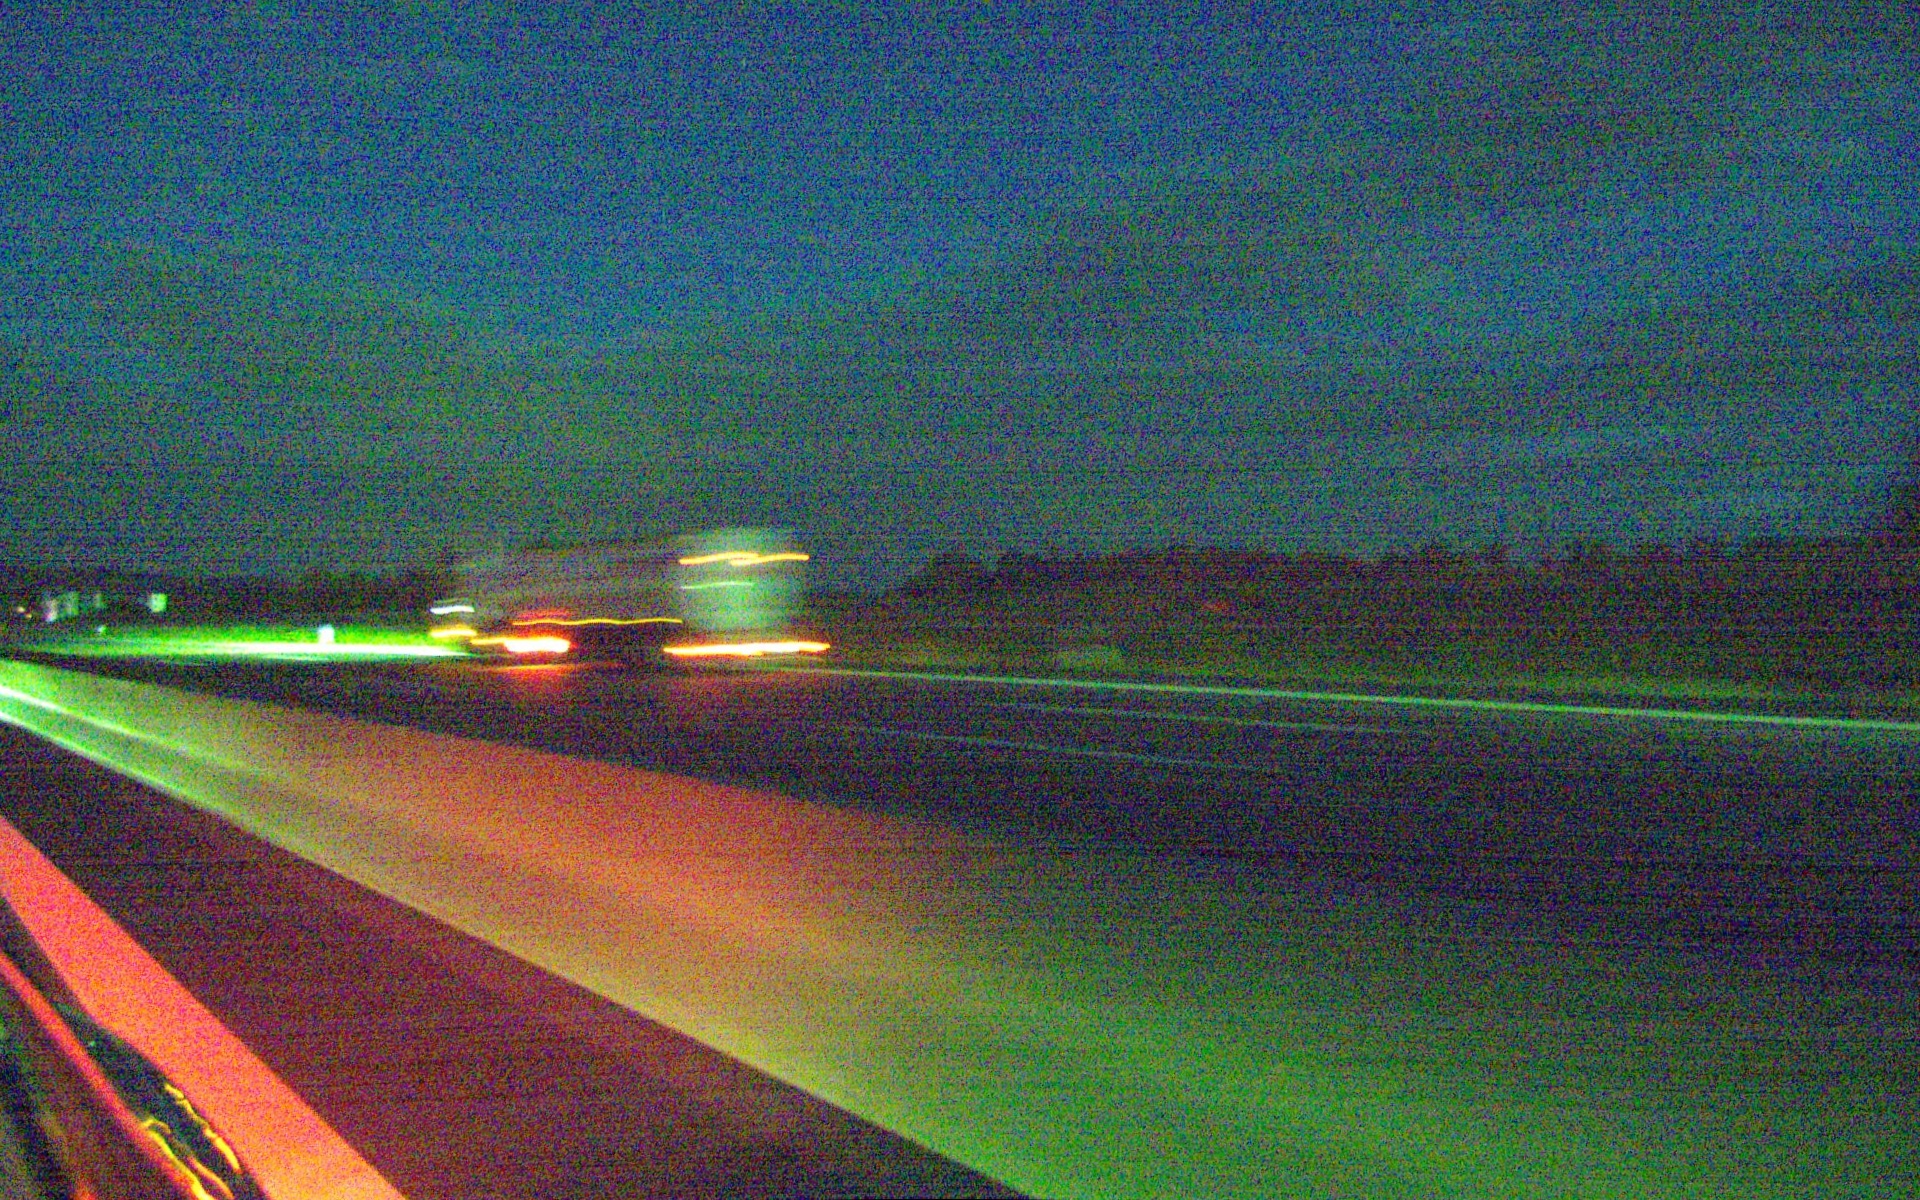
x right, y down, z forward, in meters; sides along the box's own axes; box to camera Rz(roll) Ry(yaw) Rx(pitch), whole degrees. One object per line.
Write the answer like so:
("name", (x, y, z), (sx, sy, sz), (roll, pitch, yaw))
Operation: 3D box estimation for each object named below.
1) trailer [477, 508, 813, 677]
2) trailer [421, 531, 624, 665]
("trailer", (-8.940, -0.101, 27.251), (11.682, 3.717, 3.025), (-1, 0, 42))
("trailer", (-13.794, -0.014, 31.592), (7.226, 3.717, 3.025), (-1, 0, 42))
